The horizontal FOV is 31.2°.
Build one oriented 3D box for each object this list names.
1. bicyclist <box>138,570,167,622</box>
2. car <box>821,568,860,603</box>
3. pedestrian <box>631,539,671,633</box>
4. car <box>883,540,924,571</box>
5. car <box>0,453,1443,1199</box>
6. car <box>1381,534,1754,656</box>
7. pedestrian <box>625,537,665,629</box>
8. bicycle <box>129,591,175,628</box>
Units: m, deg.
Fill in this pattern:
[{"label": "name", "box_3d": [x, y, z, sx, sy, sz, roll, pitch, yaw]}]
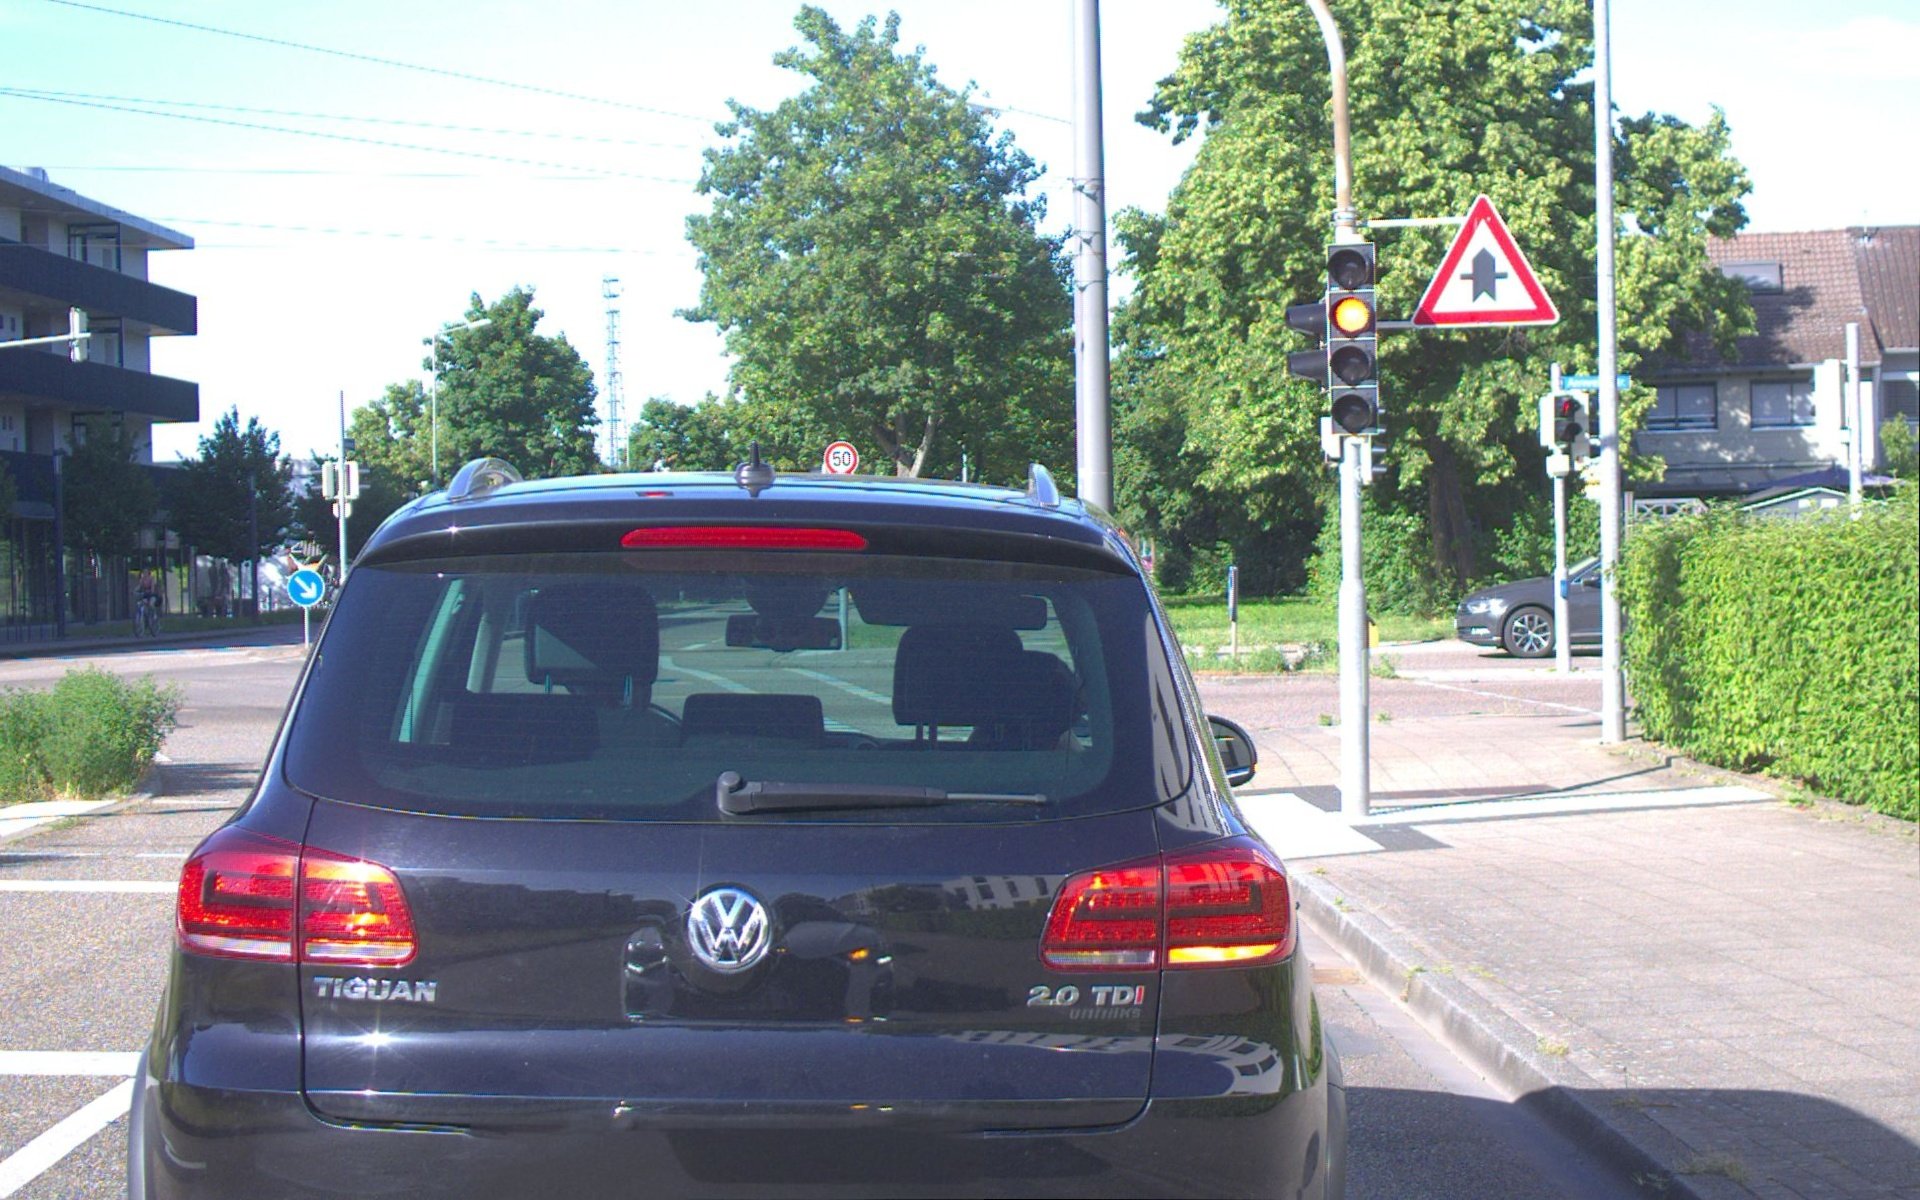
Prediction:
[{"label": "bicyclist", "box_3d": [-19.196, -0.102, 81.745, 0.474, 1.219, 0.712, 0, 1, 3]}, {"label": "car", "box_3d": [-5.748, -0.725, 165.939, 1.656, 1.634, 4.000, 0, 1, 1]}, {"label": "pedestrian", "box_3d": [-5.378, -0.244, 59.820, 0.603, 1.634, 0.529, 0, 1, 4]}, {"label": "car", "box_3d": [-2.517, -2.000, 153.220, 1.751, 1.382, 4.000, 0, 1, -2]}, {"label": "car", "box_3d": [-0.389, 0.597, 6.489, 1.905, 1.637, 4.000, 0, 1, -2]}, {"label": "car", "box_3d": [7.687, -0.080, 43.857, 4.498, 1.499, 2.000, 0, 1, 4]}, {"label": "pedestrian", "box_3d": [-5.412, -0.294, 59.149, 0.603, 1.559, 0.529, 0, 1, 4]}, {"label": "bicycle", "box_3d": [-19.210, 0.226, 81.769, 0.496, 0.845, 2.078, 0, 1, 3]}]
